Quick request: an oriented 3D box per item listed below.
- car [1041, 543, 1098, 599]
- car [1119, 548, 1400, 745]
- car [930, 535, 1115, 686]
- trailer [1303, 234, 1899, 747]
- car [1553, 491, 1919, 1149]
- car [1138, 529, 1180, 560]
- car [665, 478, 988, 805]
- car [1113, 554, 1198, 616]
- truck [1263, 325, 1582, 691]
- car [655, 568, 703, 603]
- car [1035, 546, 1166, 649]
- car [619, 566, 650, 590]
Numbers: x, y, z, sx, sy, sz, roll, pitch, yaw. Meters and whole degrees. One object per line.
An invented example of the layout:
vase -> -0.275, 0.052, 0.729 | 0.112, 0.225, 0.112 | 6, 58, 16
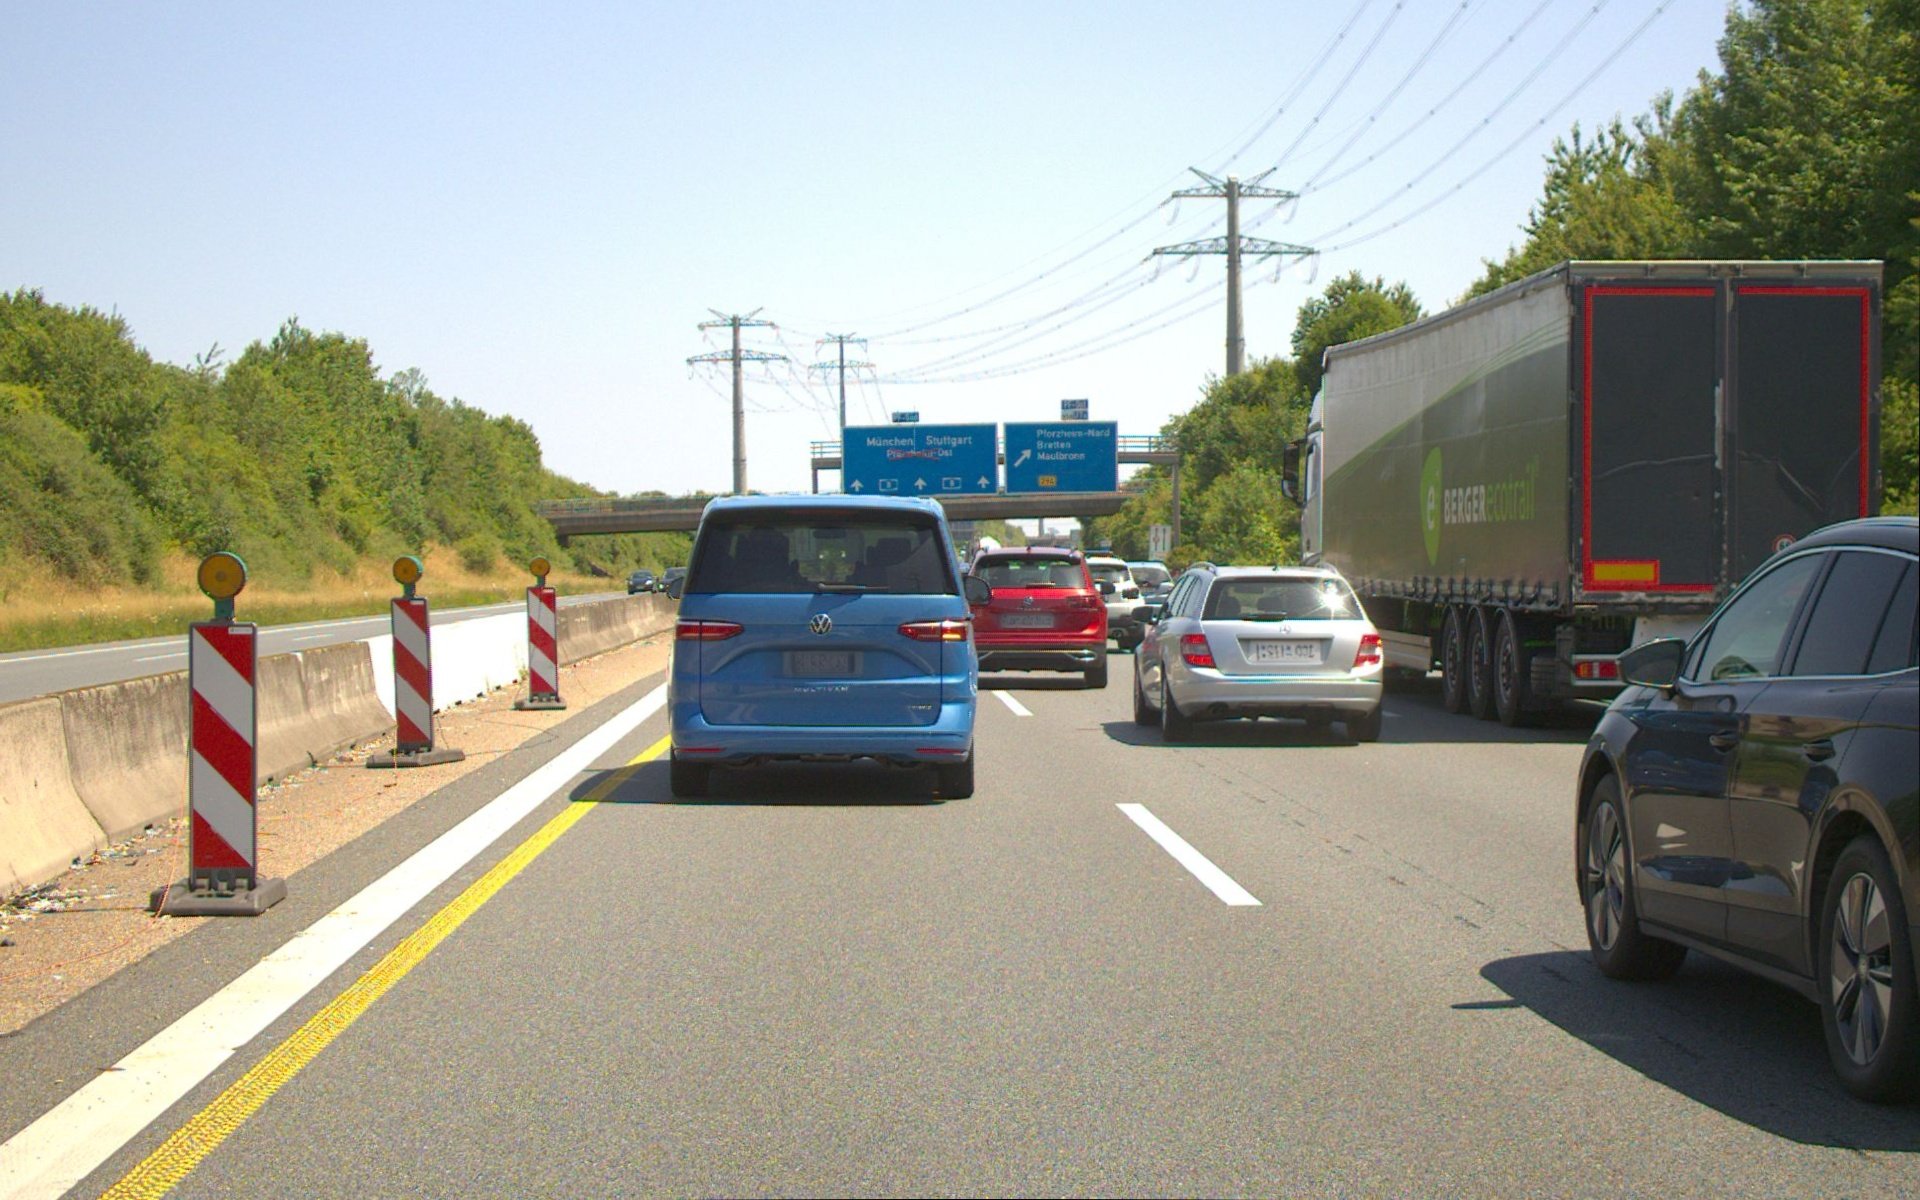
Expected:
car -> 4.057, -1.093, 128.390 | 1.797, 2.007, 4.227 | 1, 1, -2
car -> 2.443, 0.340, 29.067 | 1.770, 1.512, 4.360 | 1, 1, -3
car -> 0.682, 0.097, 40.664 | 1.874, 1.665, 4.360 | 1, 1, -3
trailer -> 5.768, -0.937, 33.971 | 2.783, 4.033, 13.113 | 1, 1, -3
car -> 3.170, 0.544, 10.553 | 1.700, 1.649, 4.430 | 1, 1, -3
car -> 11.260, -3.133, 194.586 | 1.874, 1.665, 4.360 | 1, 1, -3
car -> -0.893, 0.224, 22.503 | 1.874, 1.905, 4.360 | 1, 1, -3
car -> 4.721, -0.379, 83.282 | 1.700, 1.443, 3.788 | 1, 1, -2
truck -> 5.414, -1.052, 41.221 | 2.732, 4.033, 5.794 | 1, 0, -3
car -> -12.690, -0.667, 155.613 | 1.862, 1.485, 4.493 | -1, 1, -1
car -> 2.265, -0.058, 56.380 | 1.797, 1.588, 4.227 | 1, 1, -2
car -> -20.902, -1.417, 220.810 | 1.708, 1.459, 3.850 | -2, 1, -3
